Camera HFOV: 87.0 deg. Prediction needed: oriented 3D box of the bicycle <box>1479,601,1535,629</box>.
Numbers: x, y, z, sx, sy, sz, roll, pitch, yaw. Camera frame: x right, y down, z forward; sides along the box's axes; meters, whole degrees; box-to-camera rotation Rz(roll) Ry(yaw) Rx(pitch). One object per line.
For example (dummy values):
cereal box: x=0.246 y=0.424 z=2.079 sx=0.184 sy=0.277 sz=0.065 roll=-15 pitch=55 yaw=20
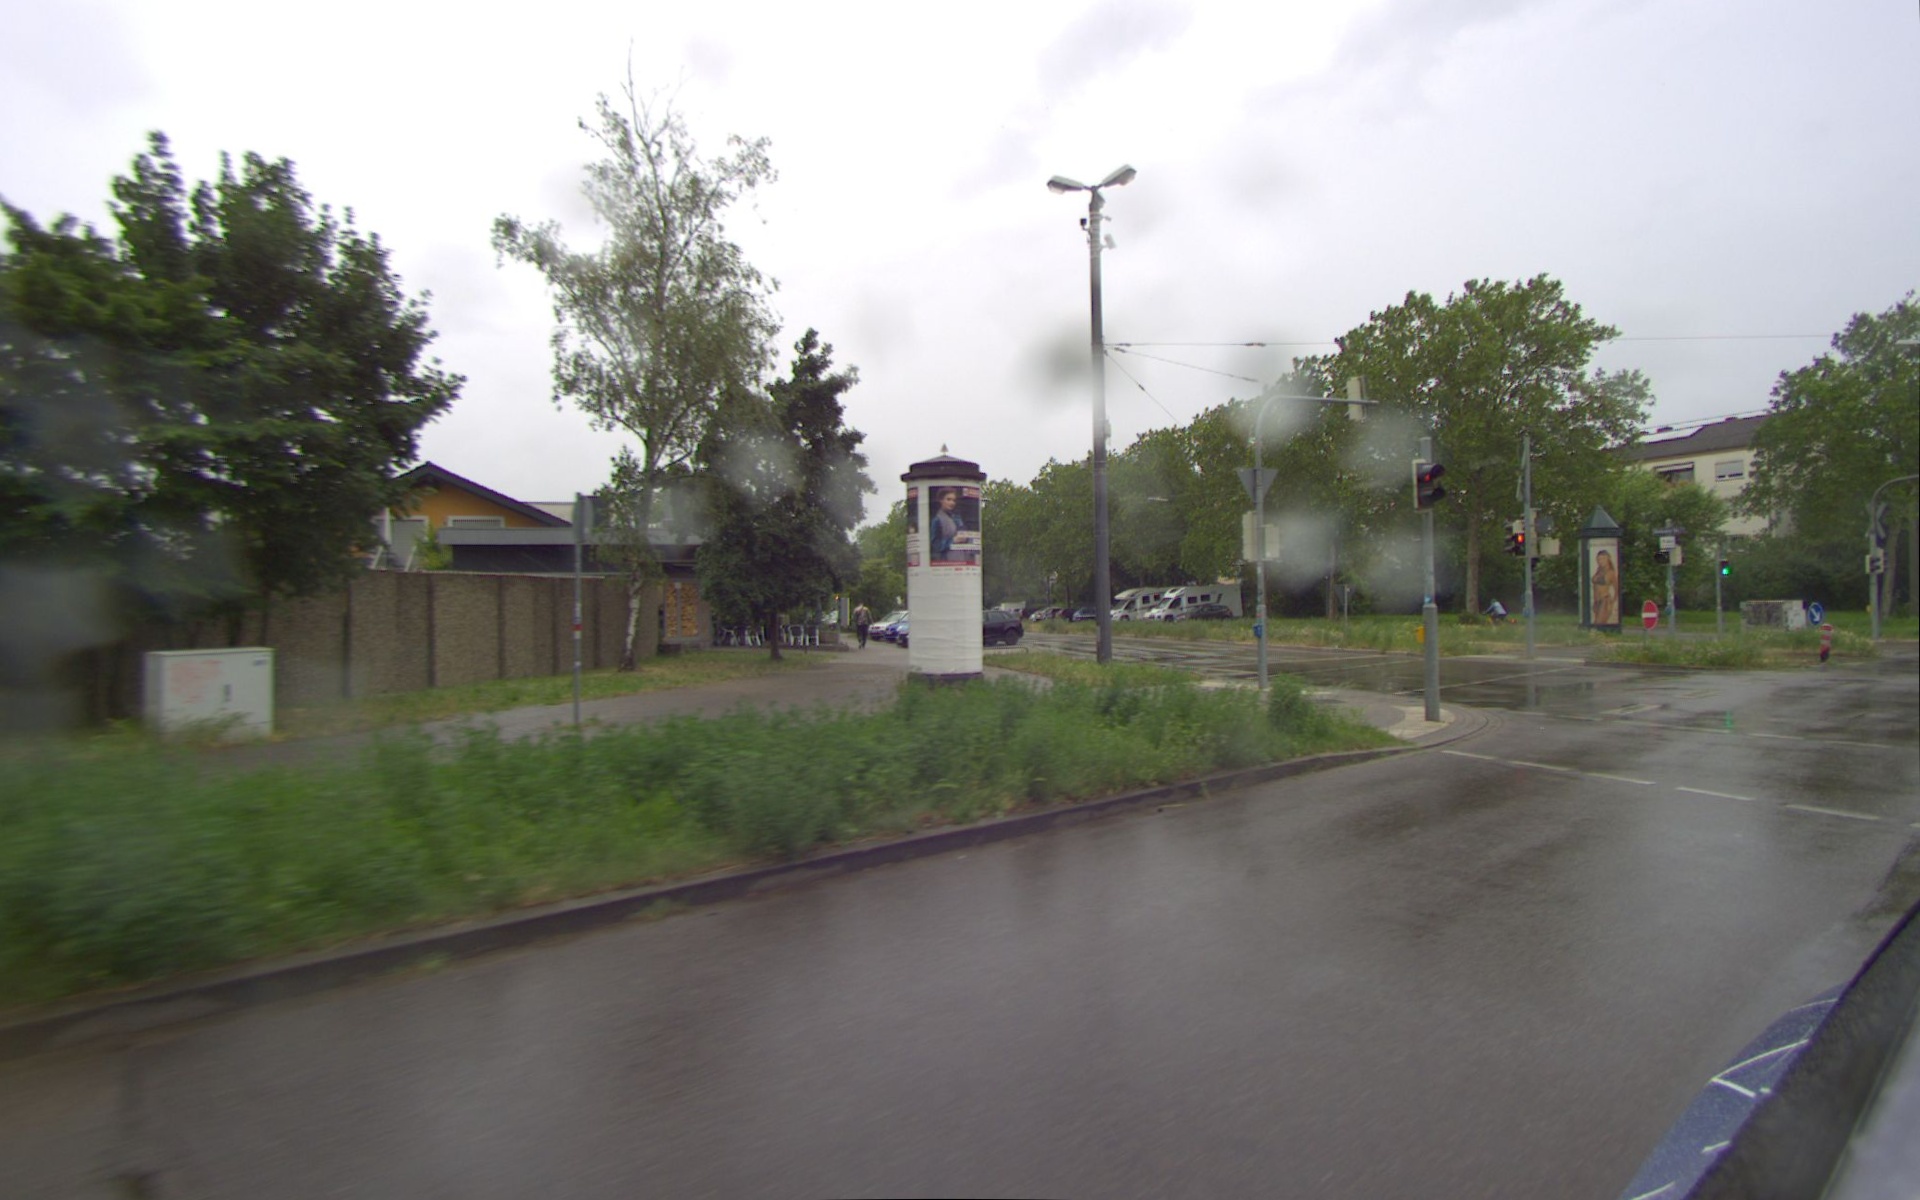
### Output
bicycle: x=22.294 y=0.623 z=41.301 sx=0.679 sy=1.131 sz=1.885 roll=1 pitch=-2 yaw=-33

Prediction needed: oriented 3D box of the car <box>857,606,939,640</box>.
car: x=-3.270 y=1.219 z=53.785 sx=4.055 sy=1.662 sz=1.924 roll=-1 pitch=-1 yaw=-45

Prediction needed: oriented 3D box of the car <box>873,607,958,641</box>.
car: x=-2.199 y=1.183 z=50.804 sx=3.931 sy=1.602 sz=1.926 roll=-1 pitch=-1 yaw=-42

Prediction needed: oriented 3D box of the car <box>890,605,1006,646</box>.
car: x=-0.479 y=1.038 z=42.041 sx=4.422 sy=1.436 sz=1.860 roll=-2 pitch=0 yaw=-30

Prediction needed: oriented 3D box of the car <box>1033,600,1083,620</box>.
car: x=9.926 y=1.001 z=102.430 sx=4.643 sy=2.040 sz=2.432 roll=0 pitch=-1 yaw=-5

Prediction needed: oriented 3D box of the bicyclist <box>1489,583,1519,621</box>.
bicyclist: x=22.237 y=0.093 z=41.392 sx=0.679 sy=1.525 sz=0.844 roll=1 pitch=-2 yaw=-33

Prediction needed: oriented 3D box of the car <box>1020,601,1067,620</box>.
car: x=8.914 y=1.115 z=108.241 sx=4.643 sy=2.040 sz=2.432 roll=0 pitch=-1 yaw=-5

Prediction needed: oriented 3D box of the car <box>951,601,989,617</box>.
car: x=1.341 y=1.214 z=133.329 sx=4.552 sy=2.040 sz=2.047 roll=0 pitch=-1 yaw=-15

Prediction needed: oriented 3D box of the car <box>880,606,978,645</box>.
car: x=-1.391 y=1.107 z=45.436 sx=3.918 sy=1.602 sz=1.861 roll=-1 pitch=-1 yaw=-26

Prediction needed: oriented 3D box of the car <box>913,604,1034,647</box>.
car: x=0.553 y=0.970 z=39.845 sx=4.403 sy=1.436 sz=1.860 roll=-3 pitch=0 yaw=-30

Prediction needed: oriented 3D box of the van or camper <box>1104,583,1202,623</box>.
van or camper: x=15.990 y=0.282 z=84.105 sx=7.297 sy=3.219 sz=3.266 roll=0 pitch=-1 yaw=-8

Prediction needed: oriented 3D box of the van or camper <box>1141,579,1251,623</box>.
van or camper: x=17.516 y=0.116 z=75.270 sx=7.192 sy=3.219 sz=3.268 roll=0 pitch=-1 yaw=-12

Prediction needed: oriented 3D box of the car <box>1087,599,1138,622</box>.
car: x=13.705 y=0.939 z=91.304 sx=4.103 sy=2.040 sz=2.188 roll=0 pitch=-1 yaw=-5

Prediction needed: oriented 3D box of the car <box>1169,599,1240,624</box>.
car: x=17.234 y=0.796 z=71.389 sx=4.366 sy=1.739 sz=2.003 roll=0 pitch=-1 yaw=-9

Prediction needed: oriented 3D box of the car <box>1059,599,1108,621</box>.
car: x=11.606 y=0.950 z=95.179 sx=4.226 sy=1.970 sz=1.968 roll=0 pitch=-1 yaw=-5

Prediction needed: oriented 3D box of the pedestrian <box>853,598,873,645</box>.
pedestrian: x=-3.836 y=0.858 z=40.012 sx=0.713 sy=1.820 sz=0.886 roll=1 pitch=-1 yaw=-1

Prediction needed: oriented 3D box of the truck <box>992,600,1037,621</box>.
truck: x=6.208 y=1.179 z=115.982 sx=4.640 sy=2.368 sz=2.434 roll=0 pitch=-1 yaw=-10

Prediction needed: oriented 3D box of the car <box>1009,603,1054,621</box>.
car: x=7.932 y=1.351 z=112.938 sx=4.642 sy=2.040 sz=2.433 roll=0 pitch=-1 yaw=-7
